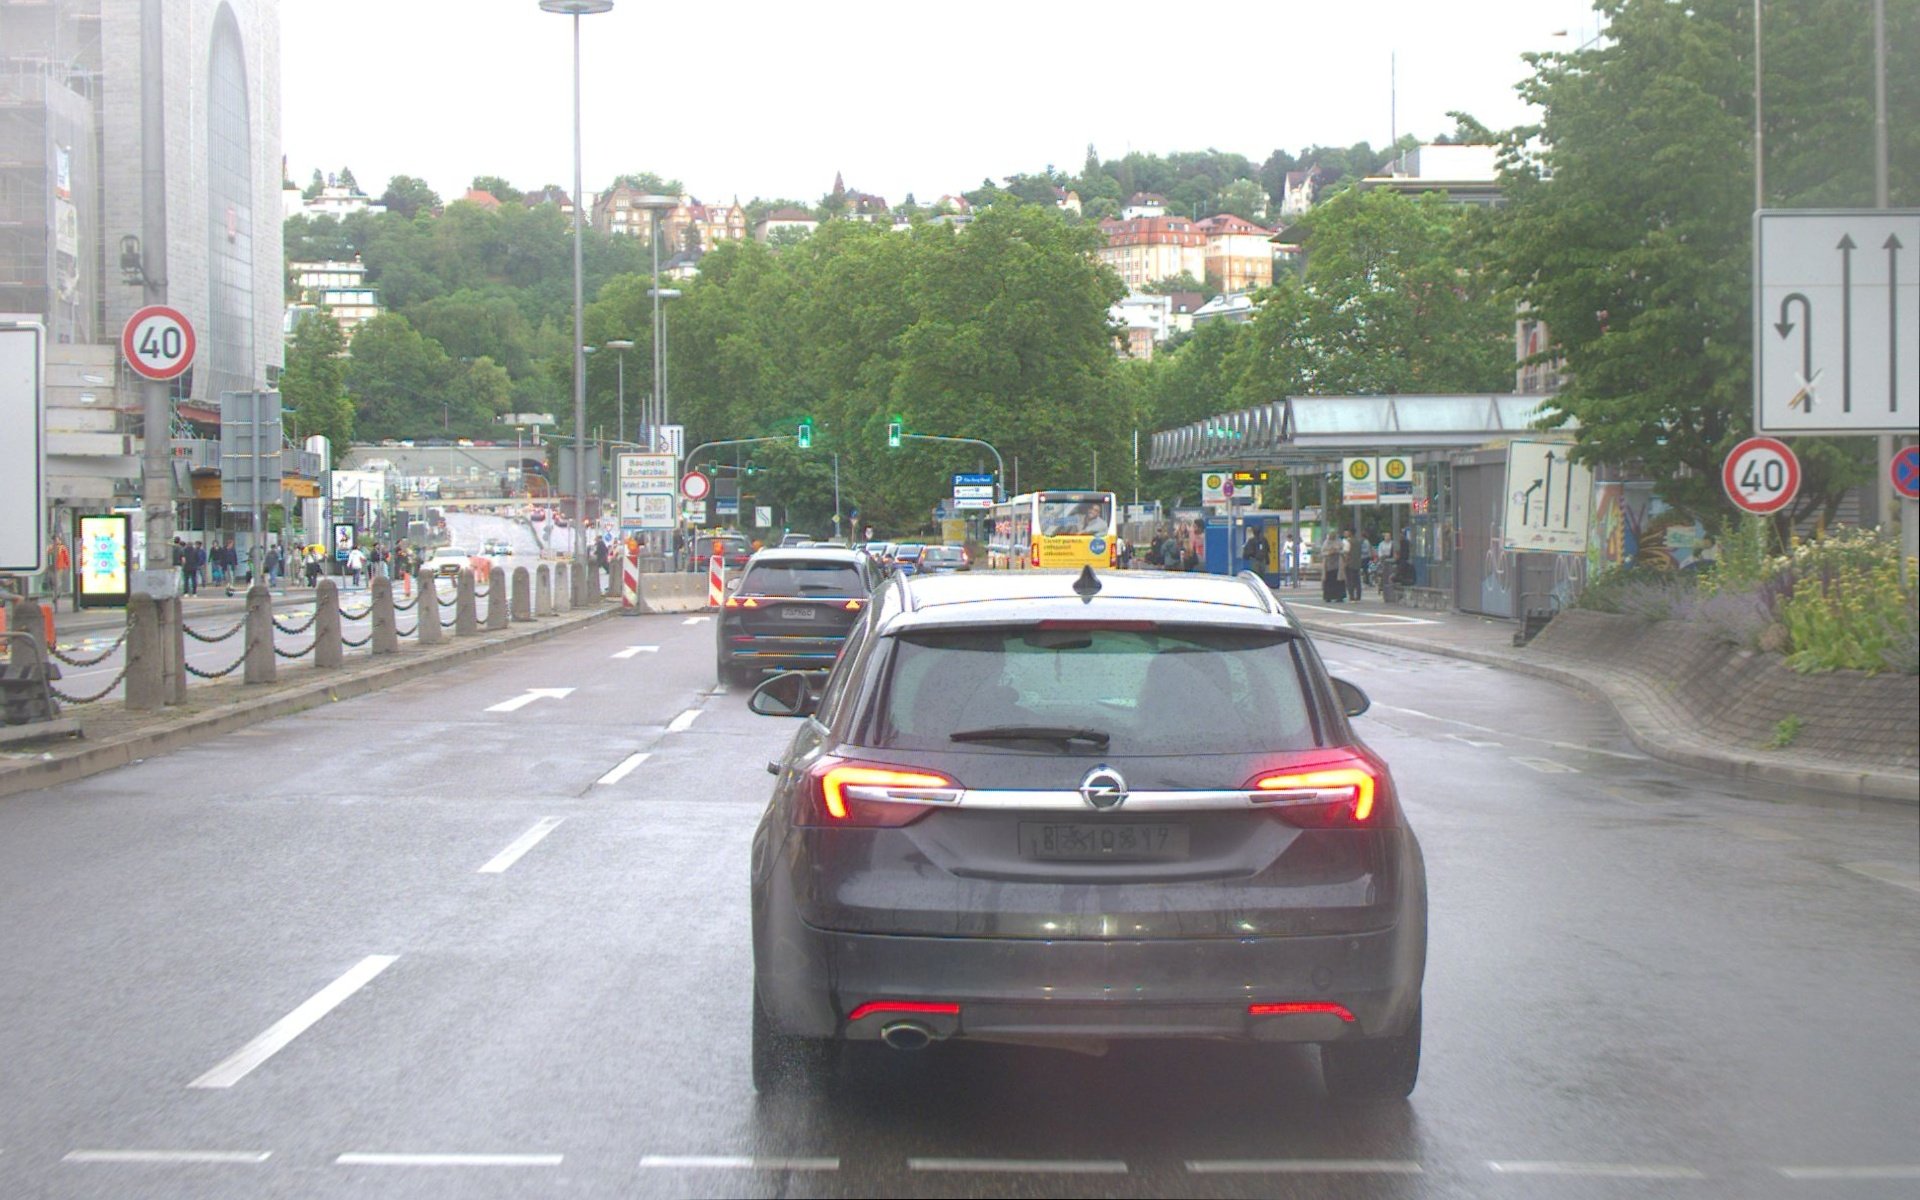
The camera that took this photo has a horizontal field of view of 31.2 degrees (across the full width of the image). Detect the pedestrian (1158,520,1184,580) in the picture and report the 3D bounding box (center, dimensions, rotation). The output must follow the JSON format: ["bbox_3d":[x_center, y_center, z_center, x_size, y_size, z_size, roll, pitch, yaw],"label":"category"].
[{"bbox_3d":[5.992,-1.425,97.601,0.657,1.684,0.609,1,0,1],"label":"pedestrian"}]

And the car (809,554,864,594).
[{"bbox_3d":[-4.440,-0.927,123.805,1.845,1.393,3.564,1,0,0],"label":"car"}]

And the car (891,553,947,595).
[{"bbox_3d":[-1.436,-0.891,118.508,1.753,1.393,4.649,1,0,-3],"label":"car"}]

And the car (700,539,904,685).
[{"bbox_3d":[-1.663,0.115,37.628,1.855,1.464,4.587,1,0,2],"label":"car"}]

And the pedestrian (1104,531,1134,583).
[{"bbox_3d":[6.600,-1.780,142.815,1.199,2.141,1.228,1,0,1],"label":"pedestrian"}]

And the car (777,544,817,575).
[{"bbox_3d":[-7.784,-1.934,164.436,1.759,1.393,3.564,1,0,0],"label":"car"}]

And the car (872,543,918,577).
[{"bbox_3d":[-2.778,-1.737,147.208,1.845,1.393,3.564,1,1,0],"label":"car"}]

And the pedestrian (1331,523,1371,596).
[{"bbox_3d":[9.242,-0.950,81.225,0.763,1.684,0.825,1,0,-4],"label":"pedestrian"}]

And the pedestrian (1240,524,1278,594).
[{"bbox_3d":[7.337,-1.001,84.432,0.763,1.684,0.825,1,0,-4],"label":"pedestrian"}]

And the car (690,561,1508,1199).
[{"bbox_3d":[0.308,0.663,10.006,1.874,1.481,4.000,1,0,0],"label":"car"}]

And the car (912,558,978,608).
[{"bbox_3d":[-0.426,-0.481,99.278,1.845,1.393,3.667,1,0,0],"label":"car"}]

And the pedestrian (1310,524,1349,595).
[{"bbox_3d":[8.861,-0.962,82.462,0.763,1.684,0.825,1,0,-4],"label":"pedestrian"}]

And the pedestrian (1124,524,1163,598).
[{"bbox_3d":[6.074,-1.278,113.830,1.199,2.427,1.228,1,0,1],"label":"pedestrian"}]

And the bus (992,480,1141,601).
[{"bbox_3d":[3.187,-1.751,107.922,4.173,3.457,14.654,1,0,0],"label":"bus"}]
